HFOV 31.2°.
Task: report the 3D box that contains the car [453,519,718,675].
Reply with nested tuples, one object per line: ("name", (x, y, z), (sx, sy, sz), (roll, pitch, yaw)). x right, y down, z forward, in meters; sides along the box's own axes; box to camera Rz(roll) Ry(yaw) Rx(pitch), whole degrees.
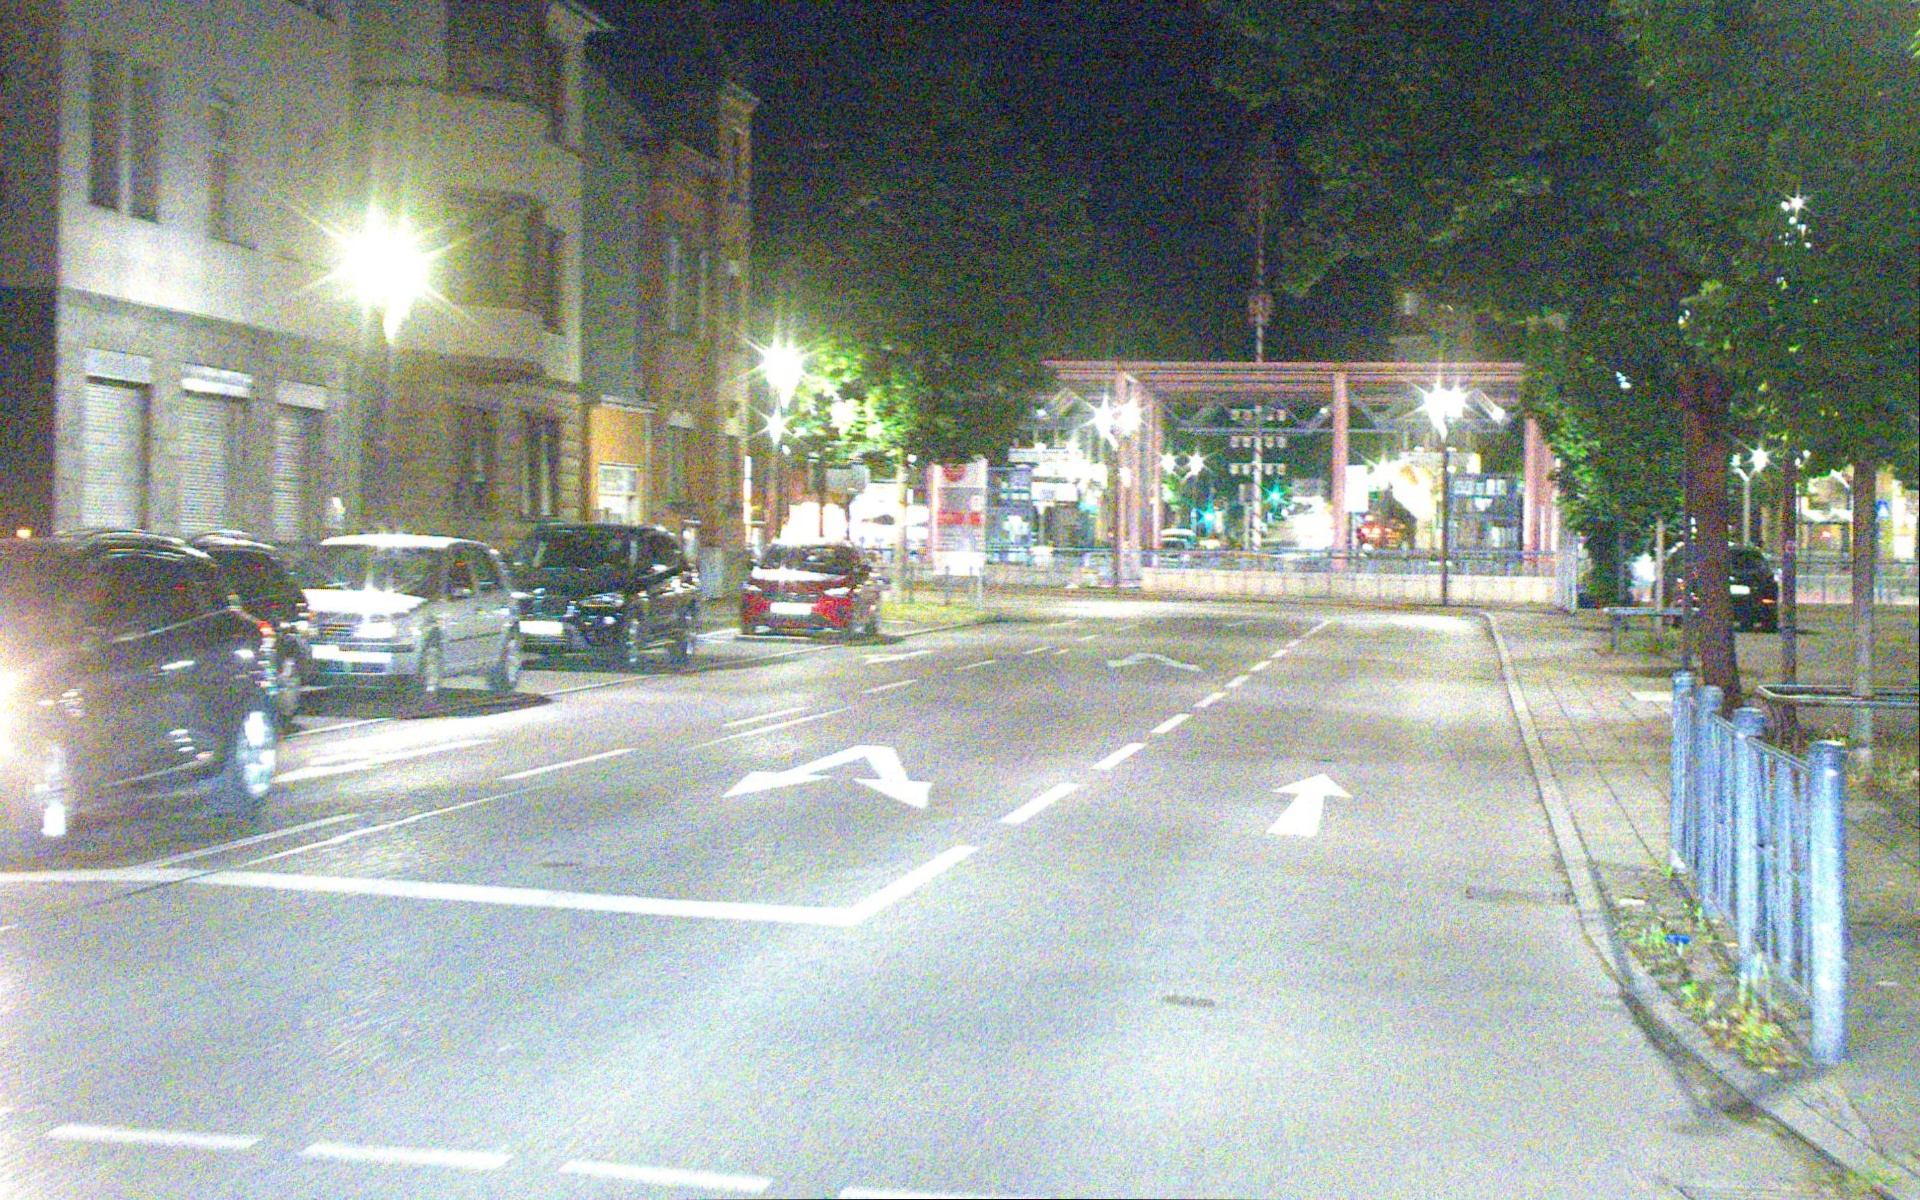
("car", (-4.171, -0.082, 39.009), (1.785, 1.576, 4.410), (3, 2, 10))

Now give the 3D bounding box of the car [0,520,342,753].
("car", (-6.224, 0.199, 25.453), (1.785, 1.486, 4.328), (3, 2, 10))

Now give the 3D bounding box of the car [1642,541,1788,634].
("car", (12.709, -0.242, 58.078), (1.734, 1.454, 4.727), (1, 1, 4))

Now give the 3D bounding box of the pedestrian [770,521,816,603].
("pedestrian", (-3.757, -0.846, 77.339), (0.723, 1.815, 0.692), (2, 0, -38))

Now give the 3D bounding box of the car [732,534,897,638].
("car", (-2.140, -0.242, 51.548), (1.785, 1.411, 4.125), (2, 2, 7))

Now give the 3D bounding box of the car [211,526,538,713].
("car", (-5.192, 0.119, 31.016), (1.785, 1.486, 3.999), (3, 2, 7))

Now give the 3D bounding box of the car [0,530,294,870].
("car", (-4.659, 0.403, 16.179), (1.716, 1.424, 3.999), (-1, 1, 9))
